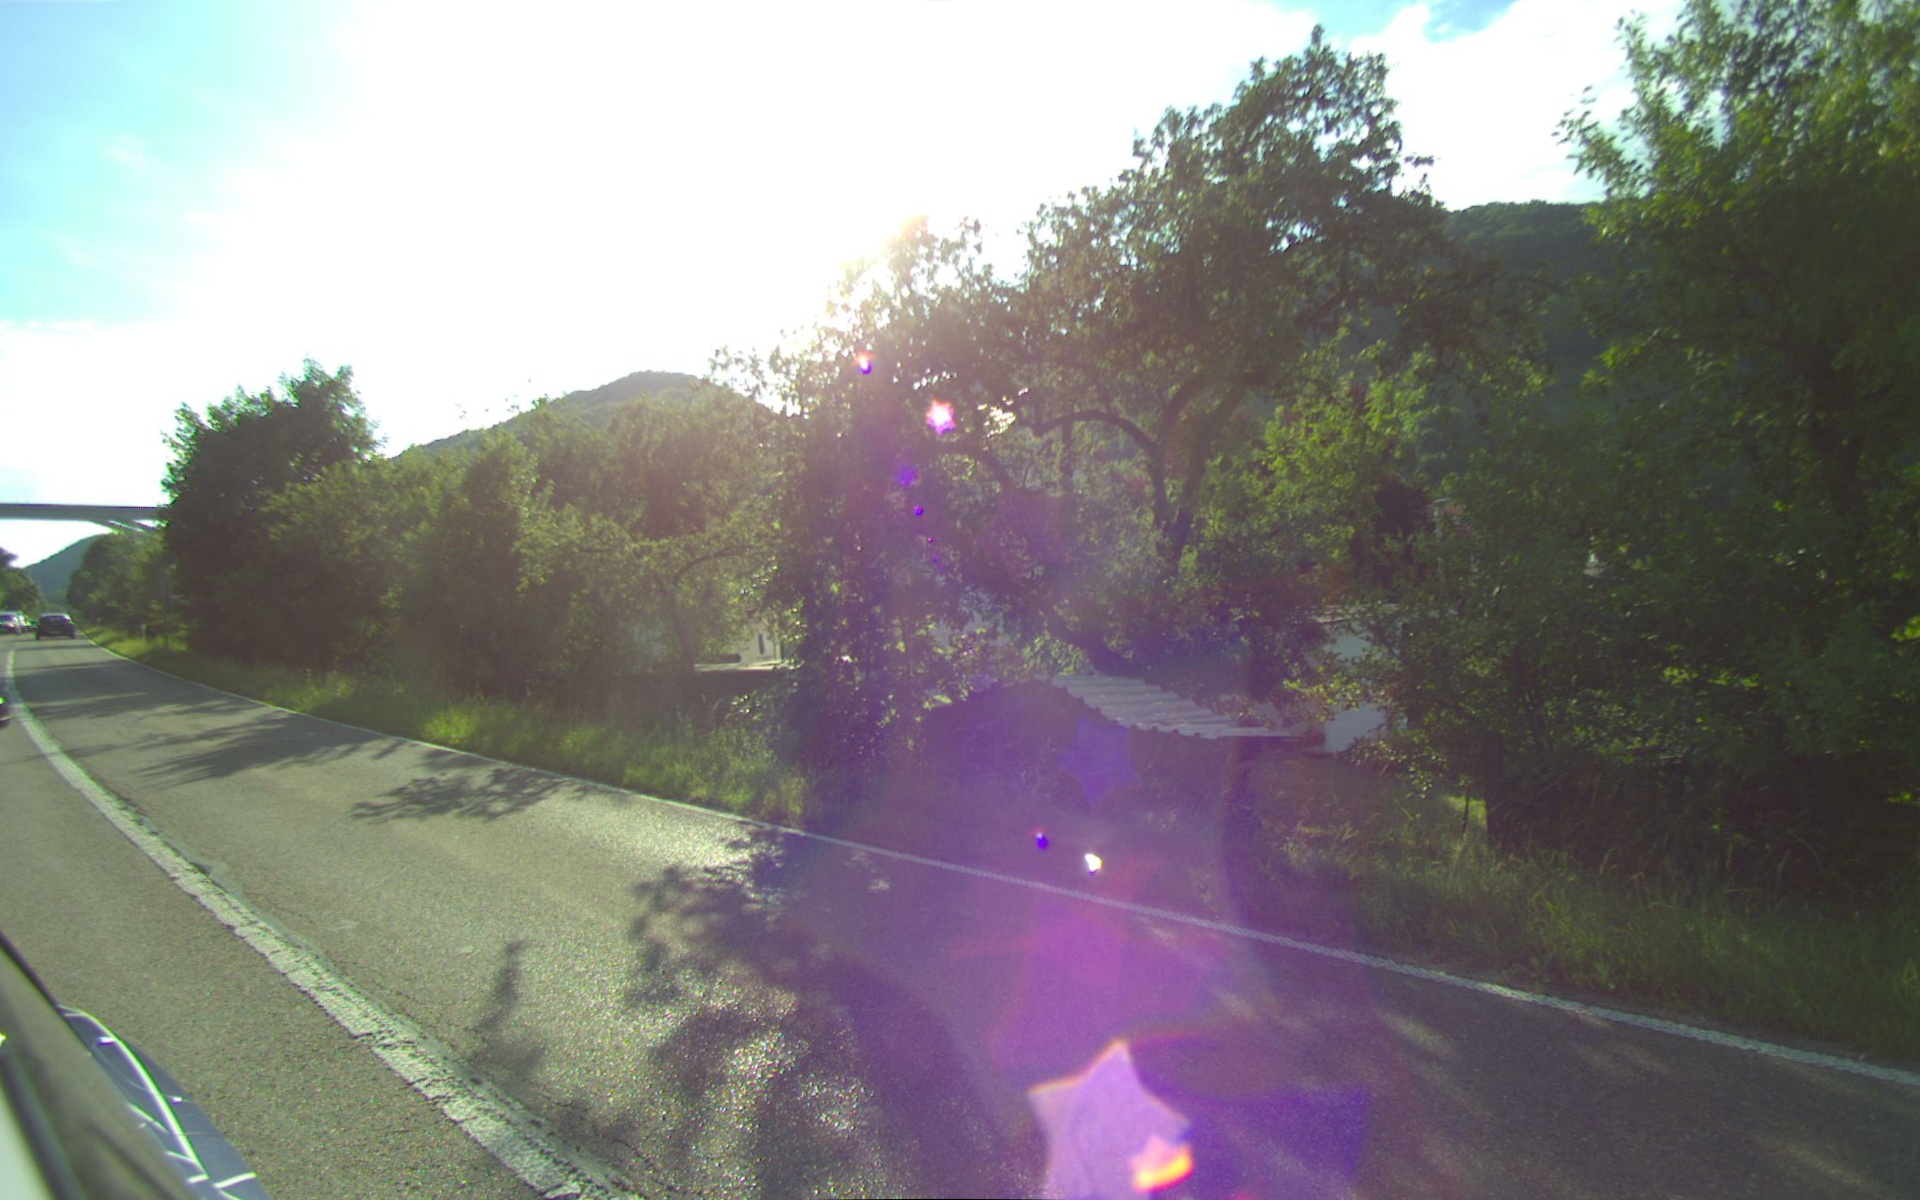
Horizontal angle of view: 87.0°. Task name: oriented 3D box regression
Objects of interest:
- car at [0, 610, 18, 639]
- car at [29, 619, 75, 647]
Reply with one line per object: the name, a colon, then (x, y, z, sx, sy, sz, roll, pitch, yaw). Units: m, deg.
car: (-70.680, 1.791, 74.470, 1.970, 2.029, 4.004, -1, 0, -43)
car: (-51.861, 1.854, 57.769, 4.051, 1.441, 1.685, -1, 0, 44)
